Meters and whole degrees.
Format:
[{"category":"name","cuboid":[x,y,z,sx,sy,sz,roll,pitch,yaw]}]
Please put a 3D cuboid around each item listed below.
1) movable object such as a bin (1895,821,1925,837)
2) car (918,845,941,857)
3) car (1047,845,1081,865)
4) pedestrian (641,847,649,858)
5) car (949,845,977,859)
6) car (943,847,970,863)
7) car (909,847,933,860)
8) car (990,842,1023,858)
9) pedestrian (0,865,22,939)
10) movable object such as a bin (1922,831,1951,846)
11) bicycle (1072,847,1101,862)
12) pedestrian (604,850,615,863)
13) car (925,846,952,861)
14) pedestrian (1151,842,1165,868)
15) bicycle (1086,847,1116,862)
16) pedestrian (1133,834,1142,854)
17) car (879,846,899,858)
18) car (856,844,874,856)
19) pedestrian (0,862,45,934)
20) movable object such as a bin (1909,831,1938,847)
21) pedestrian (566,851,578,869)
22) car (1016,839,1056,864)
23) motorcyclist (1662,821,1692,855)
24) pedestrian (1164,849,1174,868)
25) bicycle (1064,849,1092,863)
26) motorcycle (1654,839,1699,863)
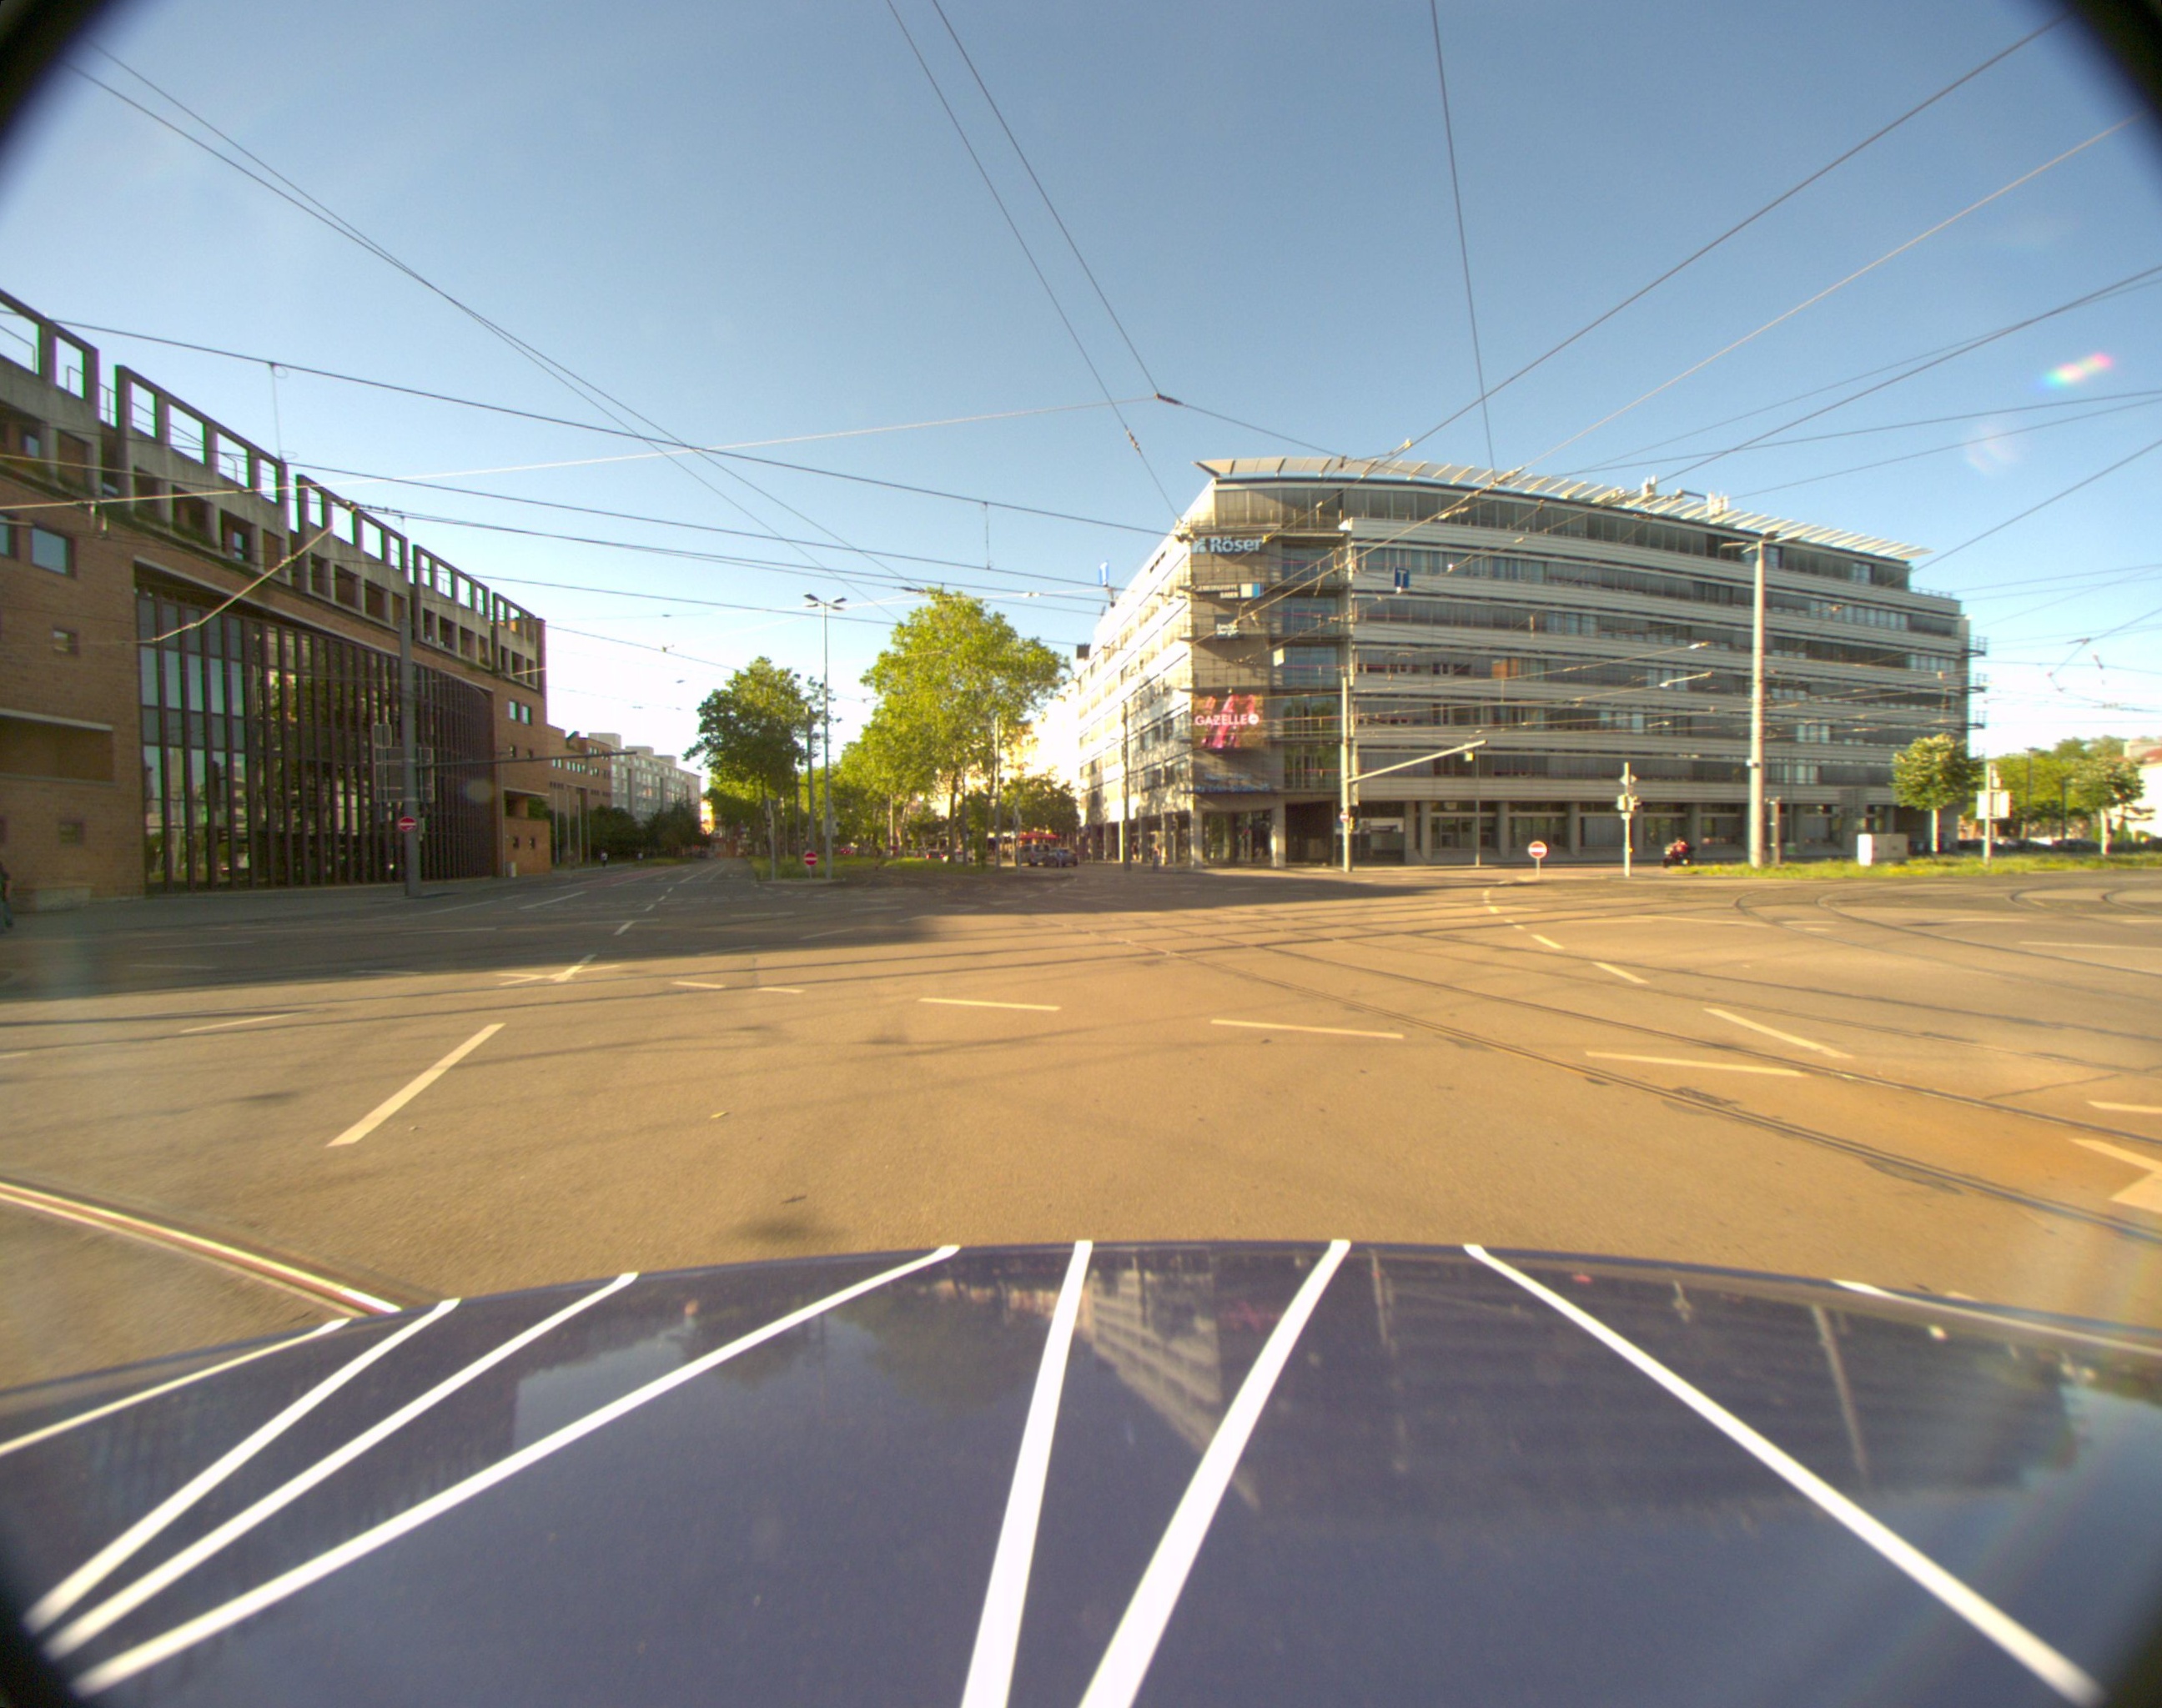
[{"category":"movable object such as a bin","cuboid":[69.654,-2.070,63.836,1.174,1.294,1.327,-2,1,-14]},{"category":"car","cuboid":[-20.506,-0.434,102.955,1.870,1.466,3.968,-2,1,-30]},{"category":"car","cuboid":[-1.361,0.063,59.938,1.868,1.466,3.972,-2,1,-13]},{"category":"pedestrian","cuboid":[-56.734,-0.231,98.808,0.813,1.376,0.686,-2,2,-22]},{"category":"car","cuboid":[-13.561,-0.224,87.345,1.870,1.466,3.968,-2,1,-30]},{"category":"car","cuboid":[-11.284,0.095,68.974,1.668,1.380,3.529,0,1,-22]},{"category":"car","cuboid":[-18.952,-0.098,89.875,1.702,1.432,4.010,-3,1,-26]},{"category":"car","cuboid":[-7.662,-0.407,77.857,1.870,1.466,3.968,-2,1,-30]},{"category":"pedestrian","cuboid":[-26.459,1.166,18.492,0.550,1.776,0.572,-3,3,-33]},{"category":"movable object such as a bin","cuboid":[73.850,-1.345,65.621,1.329,1.294,1.172,-2,1,-14]},{"category":"bicycle","cuboid":[0.478,0.010,64.231,2.398,1.207,0.773,-1,0,-32]},{"category":"pedestrian","cuboid":[-49.443,0.281,79.683,0.813,1.376,0.686,-2,2,-22]},{"category":"car","cuboid":[-15.137,-0.094,80.580,1.869,1.466,3.969,-2,1,-24]},{"category":"pedestrian","cuboid":[4.972,0.080,49.004,0.661,1.631,0.792,-1,1,-18]},{"category":"bicycle","cuboid":[1.683,0.014,63.112,2.395,1.207,0.774,-1,1,-11]},{"category":"pedestrian","cuboid":[5.133,-0.878,68.656,0.587,1.724,0.793,-2,0,-6]},{"category":"car","cuboid":[-26.166,-0.267,103.472,1.703,1.466,3.972,-2,1,-27]},{"category":"car","cuboid":[-36.642,-0.674,128.870,1.826,1.758,4.306,-2,0,-29]},{"category":"pedestrian","cuboid":[-27.139,1.112,19.398,0.550,1.776,0.572,-3,3,-33]},{"category":"movable object such as a bin","cuboid":[72.520,-1.301,65.396,1.329,1.294,1.172,-2,1,-14]},{"category":"pedestrian","cuboid":[-44.621,0.503,66.633,0.814,1.597,0.685,-2,2,-37]},{"category":"car","cuboid":[-3.874,-0.218,65.042,1.869,2.004,4.448,-2,1,-25]},{"category":"motorcyclist","cuboid":[33.088,-0.894,42.176,1.113,1.847,0.820,-2,3,-17]},{"category":"pedestrian","cuboid":[5.641,0.280,48.858,0.443,1.203,0.461,-1,1,-18]},{"category":"bicycle","cuboid":[-0.293,0.210,67.213,2.398,1.207,0.773,-1,0,-32]},{"category":"motorcycle","cuboid":[33.093,-0.178,42.203,2.257,1.214,0.820,-2,2,-17]}]
